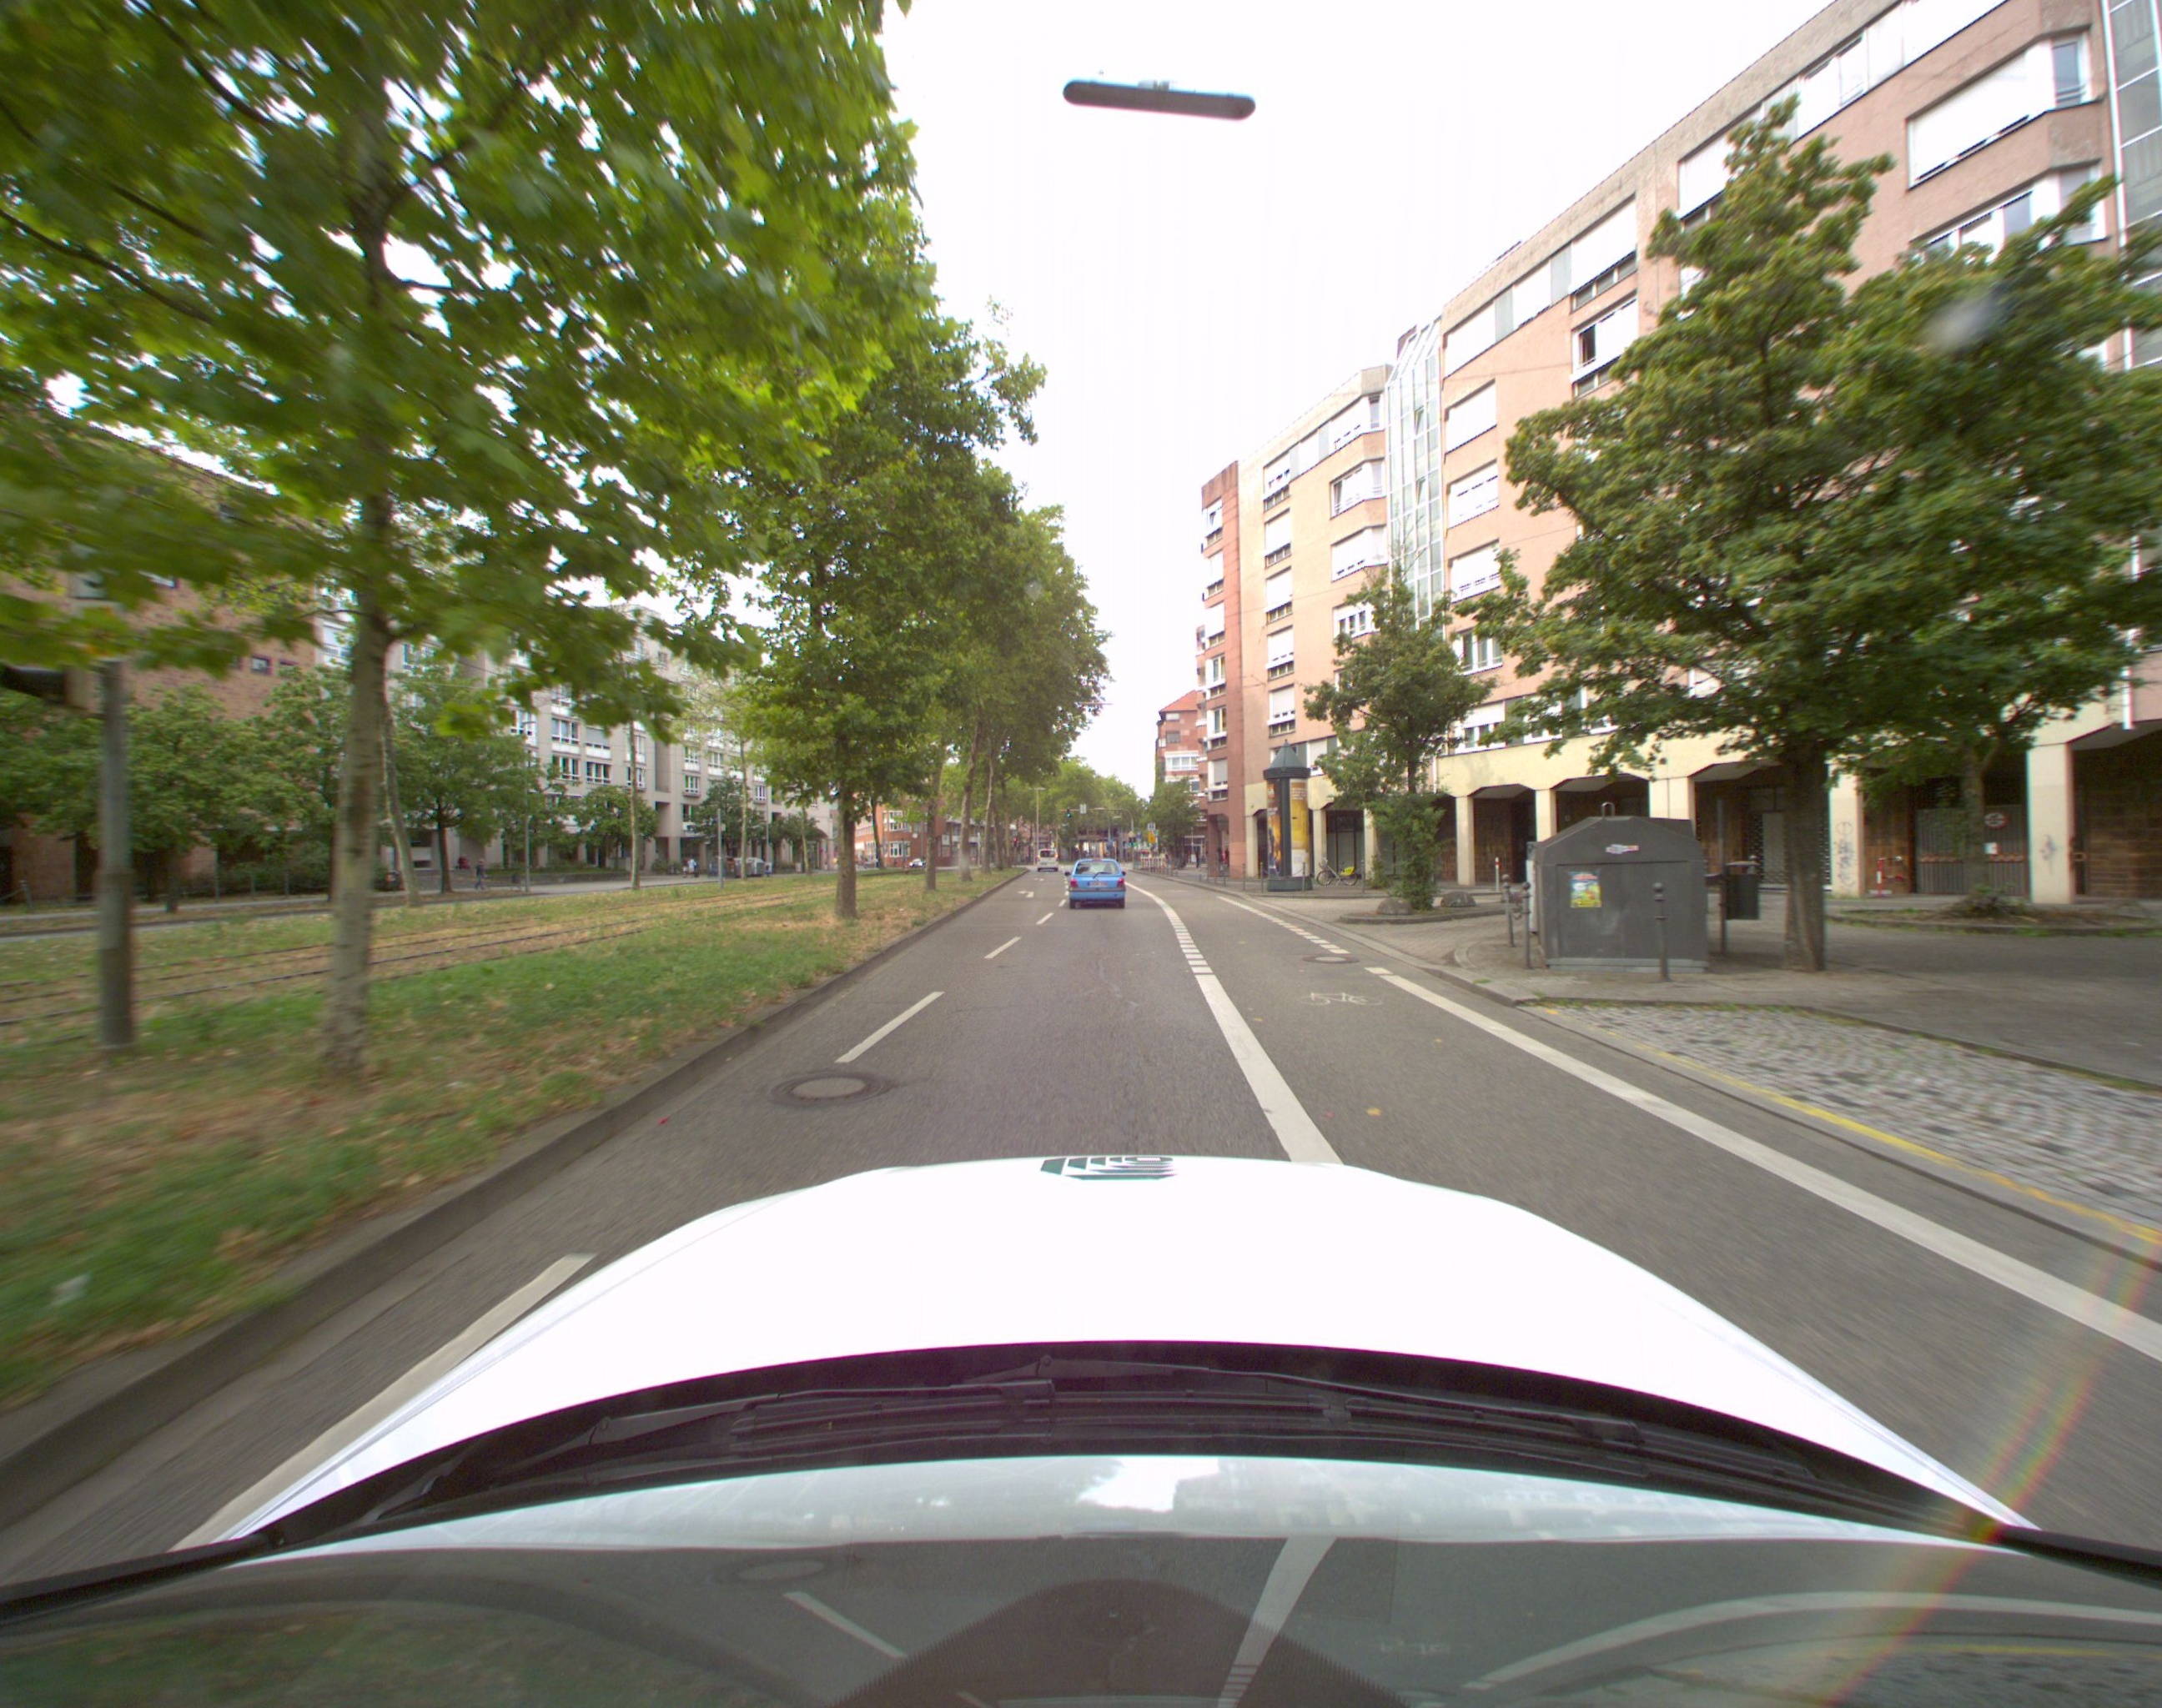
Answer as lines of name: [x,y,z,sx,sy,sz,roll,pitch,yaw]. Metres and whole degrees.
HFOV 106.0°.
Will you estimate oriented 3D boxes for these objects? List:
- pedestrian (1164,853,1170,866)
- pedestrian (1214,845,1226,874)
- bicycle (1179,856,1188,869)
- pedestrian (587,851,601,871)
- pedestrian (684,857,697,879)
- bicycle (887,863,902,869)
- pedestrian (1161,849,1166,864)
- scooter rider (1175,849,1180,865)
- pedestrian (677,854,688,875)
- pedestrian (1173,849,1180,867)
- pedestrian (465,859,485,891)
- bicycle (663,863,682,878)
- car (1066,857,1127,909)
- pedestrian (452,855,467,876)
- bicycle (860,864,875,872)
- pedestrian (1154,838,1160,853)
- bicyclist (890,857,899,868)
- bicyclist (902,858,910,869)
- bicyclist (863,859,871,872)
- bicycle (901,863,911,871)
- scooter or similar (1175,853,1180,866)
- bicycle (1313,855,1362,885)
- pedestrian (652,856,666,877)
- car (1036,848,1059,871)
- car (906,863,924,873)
pedestrian: [10.484,0.655,99.468,0.672,1.538,0.949,-1,-1,6]
pedestrian: [8.148,0.317,47.679,0.539,1.650,0.829,-1,0,20]
bicycle: [8.498,0.696,67.558,0.609,1.118,1.807,-1,0,6]
pedestrian: [-39.489,0.562,66.019,0.633,1.672,0.661,-1,0,7]
pedestrian: [-30.822,1.136,64.225,0.550,1.705,0.885,-1,0,3]
bicycle: [-26.449,1.686,115.377,1.997,0.836,0.572,-1,0,-38]
pedestrian: [8.578,0.276,84.919,0.514,1.616,0.852,-1,0,5]
scooter rider: [9.106,0.284,76.814,0.459,1.557,0.565,-1,-1,3]
pedestrian: [-31.429,0.826,64.254,0.550,1.705,0.627,-1,0,3]
pedestrian: [10.115,0.413,86.060,0.673,1.828,0.852,-1,0,5]
pedestrian: [-33.244,1.153,44.681,0.550,1.705,0.627,-1,0,3]
bicycle: [-34.899,1.426,69.564,0.531,1.212,1.842,-1,0,6]
car: [0.403,0.786,24.006,1.636,1.386,3.841,0,0,-1]
pedestrian: [-39.179,0.733,51.344,0.454,1.323,0.556,-1,0,10]
bicycle: [-28.711,1.894,109.393,1.886,1.092,0.571,-1,0,-39]
pedestrian: [7.922,-0.872,84.878,0.514,1.616,0.851,-1,0,4]
bicyclist: [-26.409,1.174,115.427,1.039,1.562,0.576,-1,-1,-38]
bicyclist: [-25.192,1.352,117.283,0.685,1.673,0.956,-1,0,10]
bicyclist: [-28.736,1.523,109.380,0.788,1.673,0.567,-1,0,-38]
bicycle: [-25.208,1.850,117.169,0.686,1.092,1.883,-1,0,11]
scooter or similar: [9.135,0.530,77.135,0.471,1.206,1.332,-1,0,5]
bicycle: [9.956,0.628,31.580,1.644,1.129,0.675,-2,-1,40]
pedestrian: [-35.768,1.054,69.072,0.765,1.809,0.694,-1,0,8]
car: [-2.964,0.483,72.619,1.926,1.925,4.953,-1,0,-1]
car: [-23.170,1.938,113.856,1.725,1.245,4.531,-1,0,-2]
